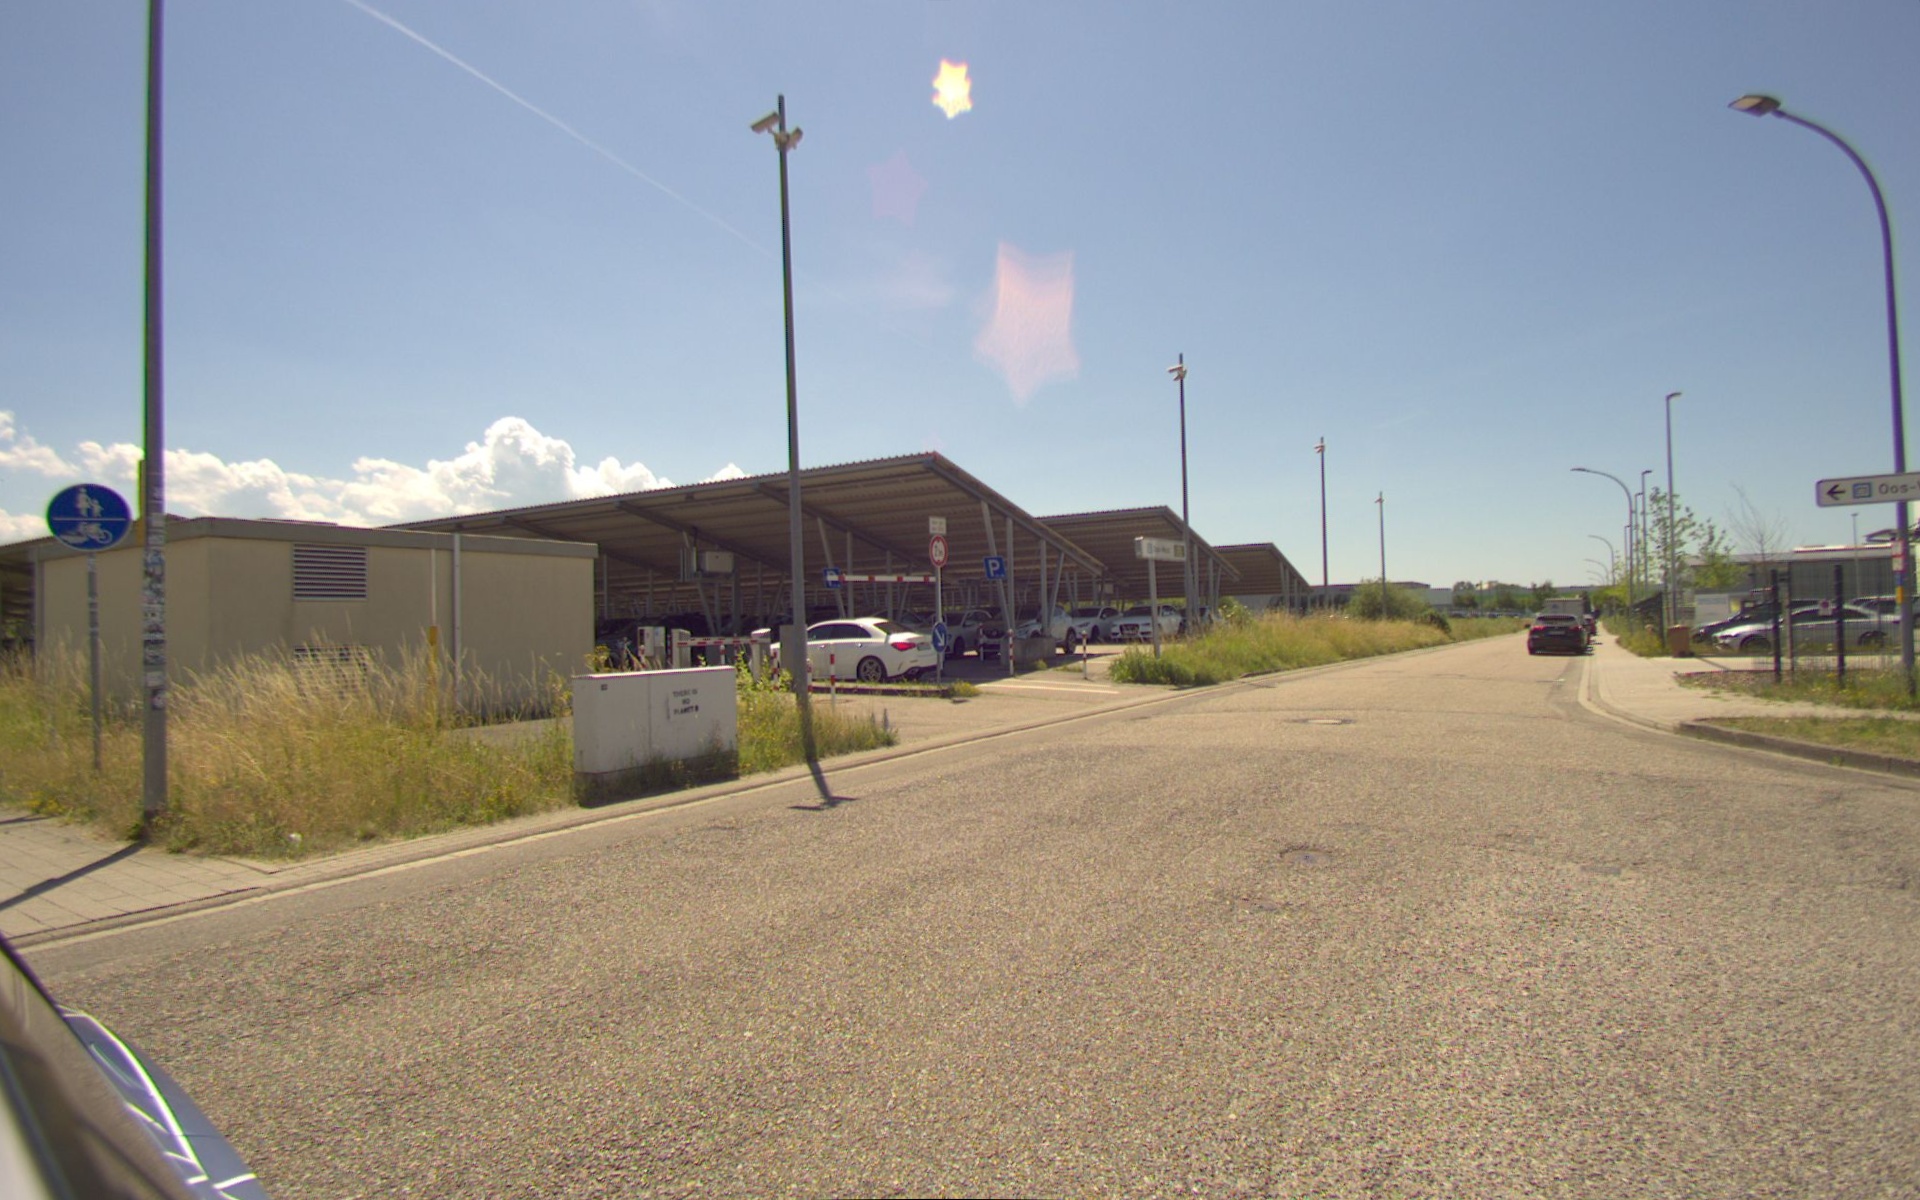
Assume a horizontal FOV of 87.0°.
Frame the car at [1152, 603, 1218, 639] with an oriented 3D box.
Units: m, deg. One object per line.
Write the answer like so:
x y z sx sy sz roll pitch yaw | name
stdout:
9.605 0.899 43.018 1.716 1.447 3.738 -3 -2 29 | car

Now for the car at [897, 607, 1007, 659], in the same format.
-0.175 0.994 30.989 1.716 1.447 3.738 -3 -2 29 | car

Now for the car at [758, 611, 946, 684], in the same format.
-2.367 1.047 21.999 3.760 1.447 1.706 -3 -2 30 | car

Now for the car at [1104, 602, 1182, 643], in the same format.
6.992 0.851 38.415 1.716 1.447 3.738 -3 -2 29 | car

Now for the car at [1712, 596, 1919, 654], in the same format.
24.764 0.745 29.473 4.391 1.526 1.680 -3 -2 33 | car

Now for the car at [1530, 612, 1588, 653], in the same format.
21.969 1.170 37.206 1.691 1.387 3.959 -3 -2 30 | car

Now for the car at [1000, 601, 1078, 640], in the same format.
3.270 0.831 41.174 1.716 1.447 3.738 -3 -2 29 | car

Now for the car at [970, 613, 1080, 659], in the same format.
1.950 1.021 29.320 1.716 1.237 3.738 -3 -2 29 | car

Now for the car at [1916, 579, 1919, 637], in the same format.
16.953 0.301 16.115 1.717 1.475 3.641 -3 -2 32 | car

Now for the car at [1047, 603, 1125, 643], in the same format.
5.023 0.915 40.001 1.716 1.447 3.738 -3 -2 29 | car

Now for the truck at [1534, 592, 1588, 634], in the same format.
31.189 0.701 52.654 2.158 2.029 5.046 -3 -2 29 | truck

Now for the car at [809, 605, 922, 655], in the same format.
-2.916 0.922 31.874 1.716 1.447 3.738 -3 -2 29 | car

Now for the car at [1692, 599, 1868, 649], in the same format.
27.507 0.824 34.169 4.391 1.526 1.680 -3 -2 33 | car
